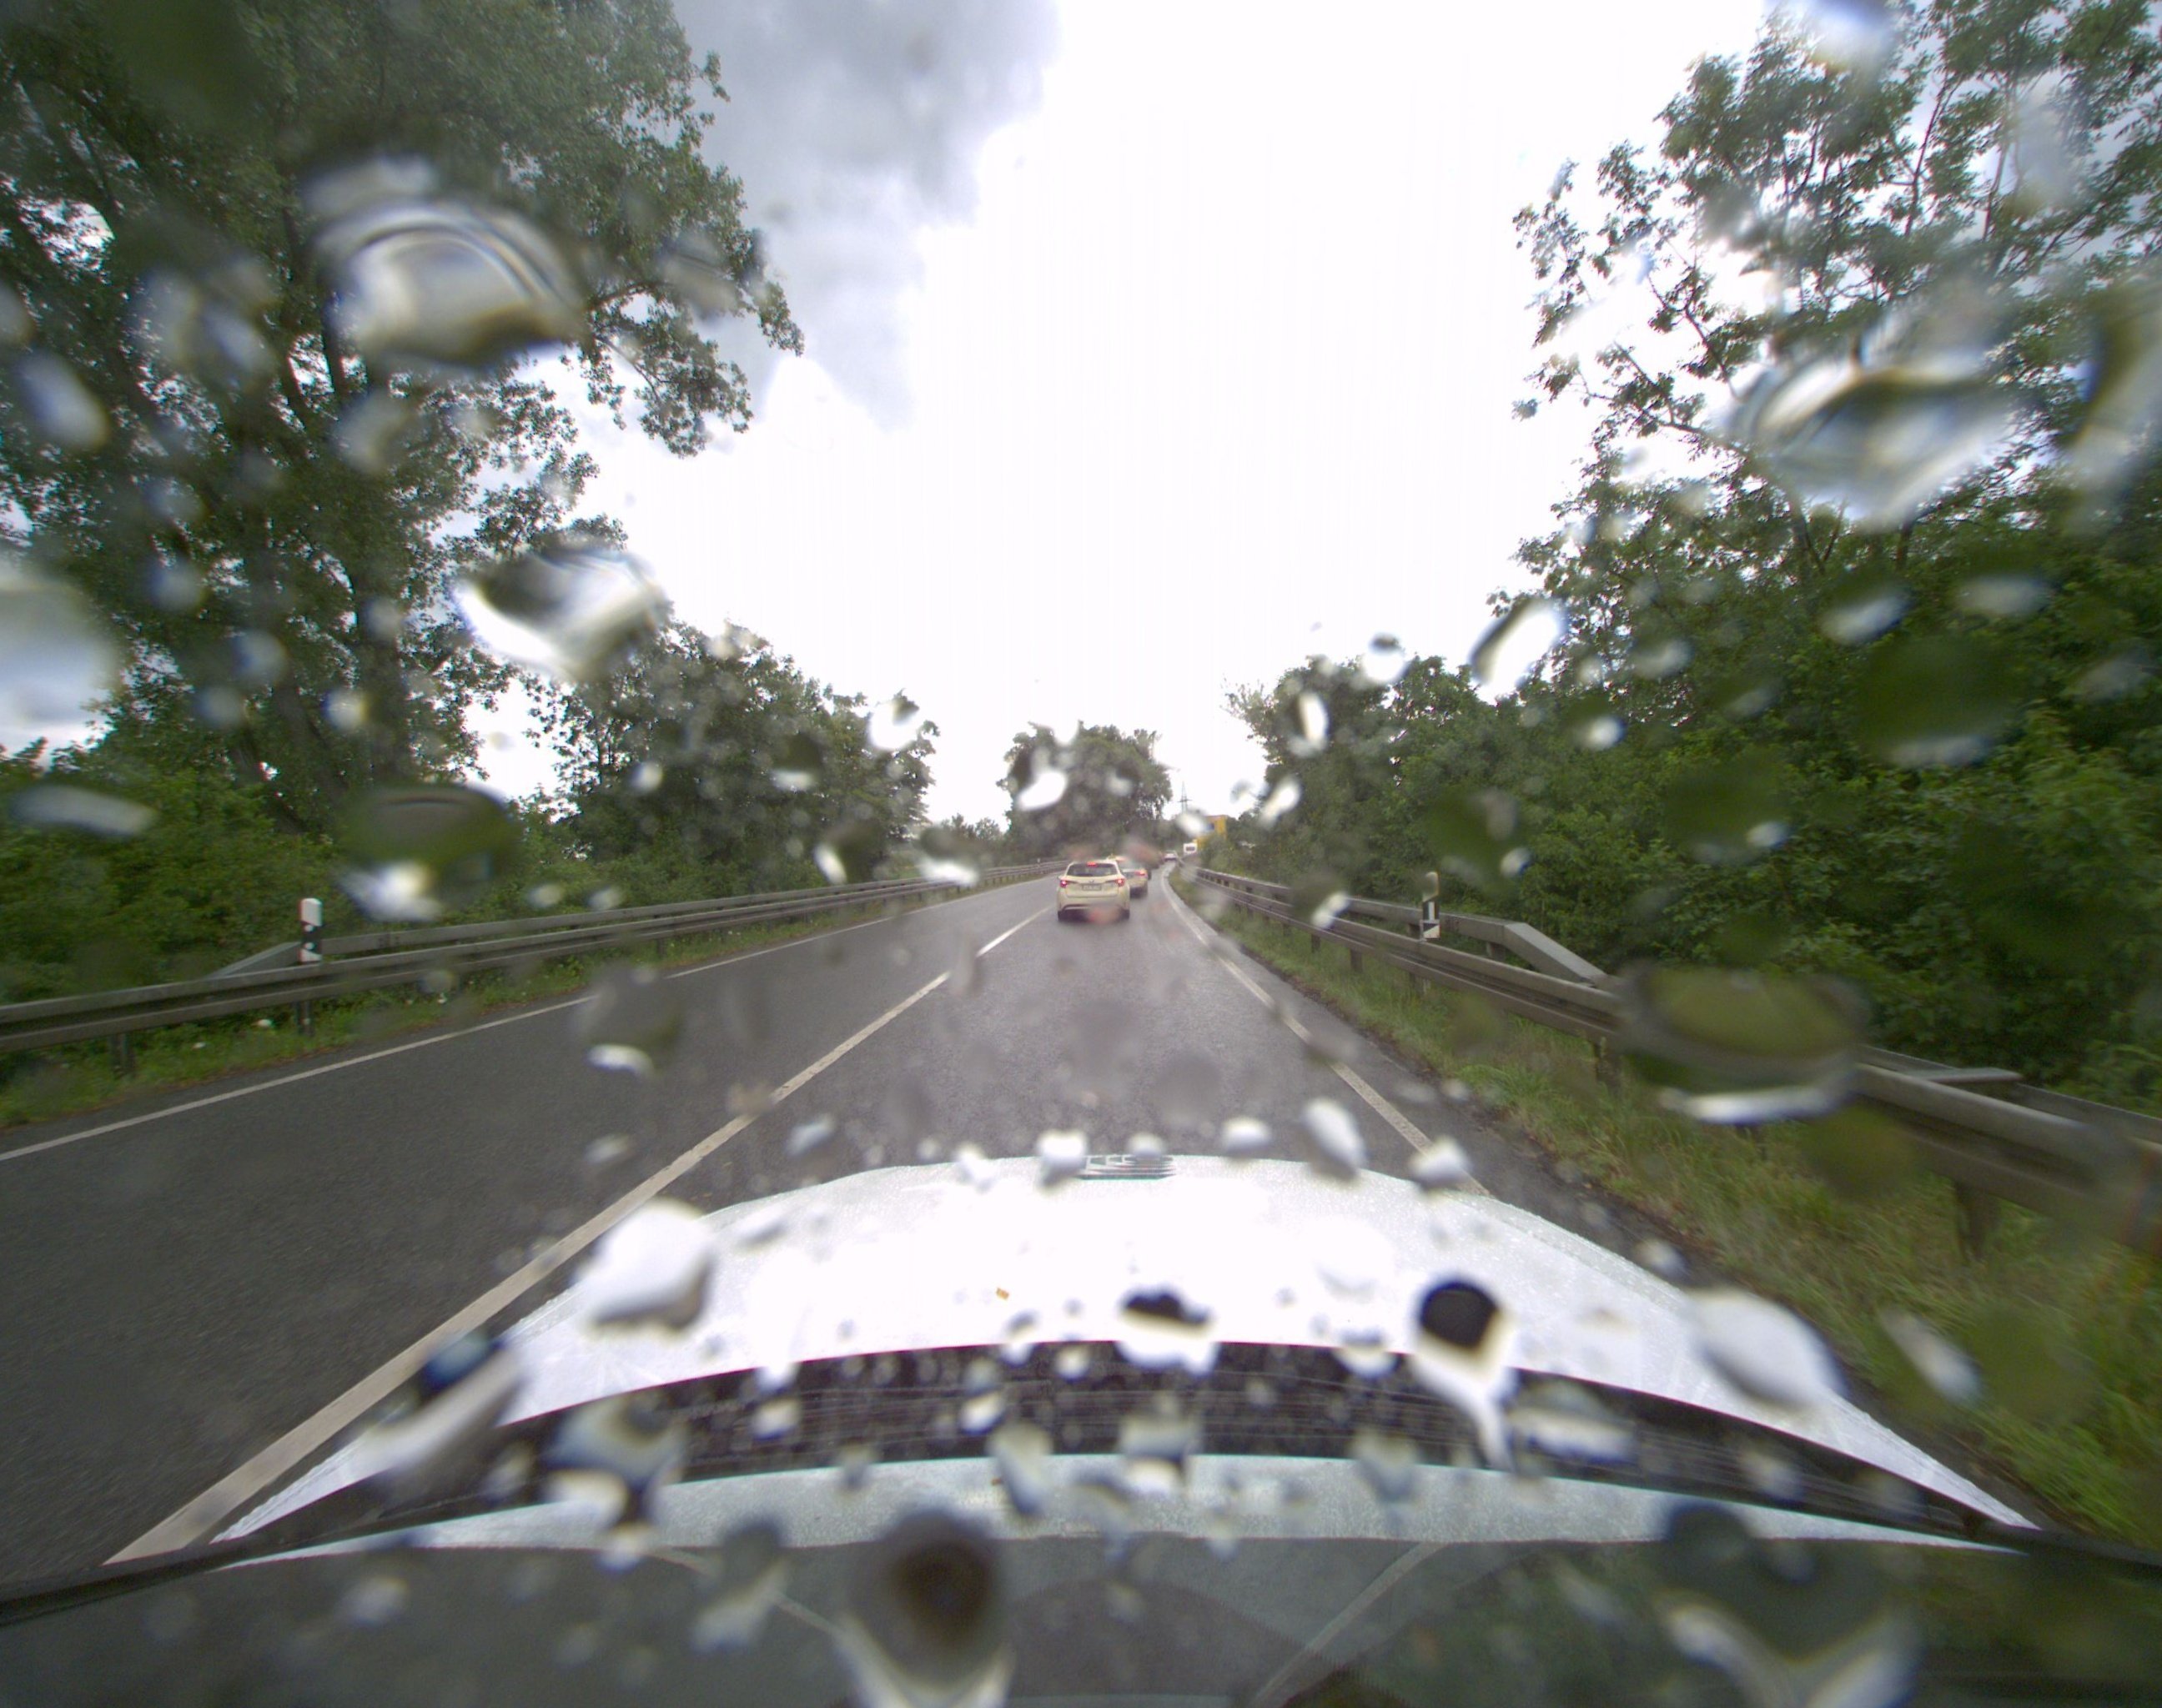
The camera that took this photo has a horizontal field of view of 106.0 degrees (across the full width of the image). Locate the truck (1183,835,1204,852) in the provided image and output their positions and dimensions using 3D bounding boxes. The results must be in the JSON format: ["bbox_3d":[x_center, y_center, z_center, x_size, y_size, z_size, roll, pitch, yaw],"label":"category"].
[{"bbox_3d":[24.228,-2.254,174.801,2.748,3.428,9.233,1,2,19],"label":"truck"}]

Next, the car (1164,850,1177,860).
[{"bbox_3d":[12.068,0.135,109.489,1.473,1.309,3.487,-1,0,11],"label":"car"}]

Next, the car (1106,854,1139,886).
[{"bbox_3d":[1.962,0.748,39.405,1.500,1.437,3.356,-1,0,1],"label":"car"}]

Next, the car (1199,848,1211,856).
[{"bbox_3d":[24.212,-0.360,158.942,1.634,1.585,3.700,-1,-1,18],"label":"car"}]

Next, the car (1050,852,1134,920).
[{"bbox_3d":[0.388,0.743,20.940,1.897,1.537,4.166,-1,0,4],"label":"car"}]

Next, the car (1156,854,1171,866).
[{"bbox_3d":[9.355,0.725,92.590,1.474,1.309,3.485,-1,0,9],"label":"car"}]

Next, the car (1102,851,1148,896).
[{"bbox_3d":[1.698,0.690,30.403,1.571,1.572,3.686,-1,0,5],"label":"car"}]

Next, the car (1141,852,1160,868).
[{"bbox_3d":[6.341,0.561,74.025,1.651,1.409,3.911,-1,-1,7],"label":"car"}]

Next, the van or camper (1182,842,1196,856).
[{"bbox_3d":[18.394,-0.856,138.696,1.981,2.254,4.012,-1,-1,11],"label":"van or camper"}]

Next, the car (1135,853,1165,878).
[{"bbox_3d":[4.193,0.696,49.786,1.658,1.464,3.479,-1,0,3],"label":"car"}]
